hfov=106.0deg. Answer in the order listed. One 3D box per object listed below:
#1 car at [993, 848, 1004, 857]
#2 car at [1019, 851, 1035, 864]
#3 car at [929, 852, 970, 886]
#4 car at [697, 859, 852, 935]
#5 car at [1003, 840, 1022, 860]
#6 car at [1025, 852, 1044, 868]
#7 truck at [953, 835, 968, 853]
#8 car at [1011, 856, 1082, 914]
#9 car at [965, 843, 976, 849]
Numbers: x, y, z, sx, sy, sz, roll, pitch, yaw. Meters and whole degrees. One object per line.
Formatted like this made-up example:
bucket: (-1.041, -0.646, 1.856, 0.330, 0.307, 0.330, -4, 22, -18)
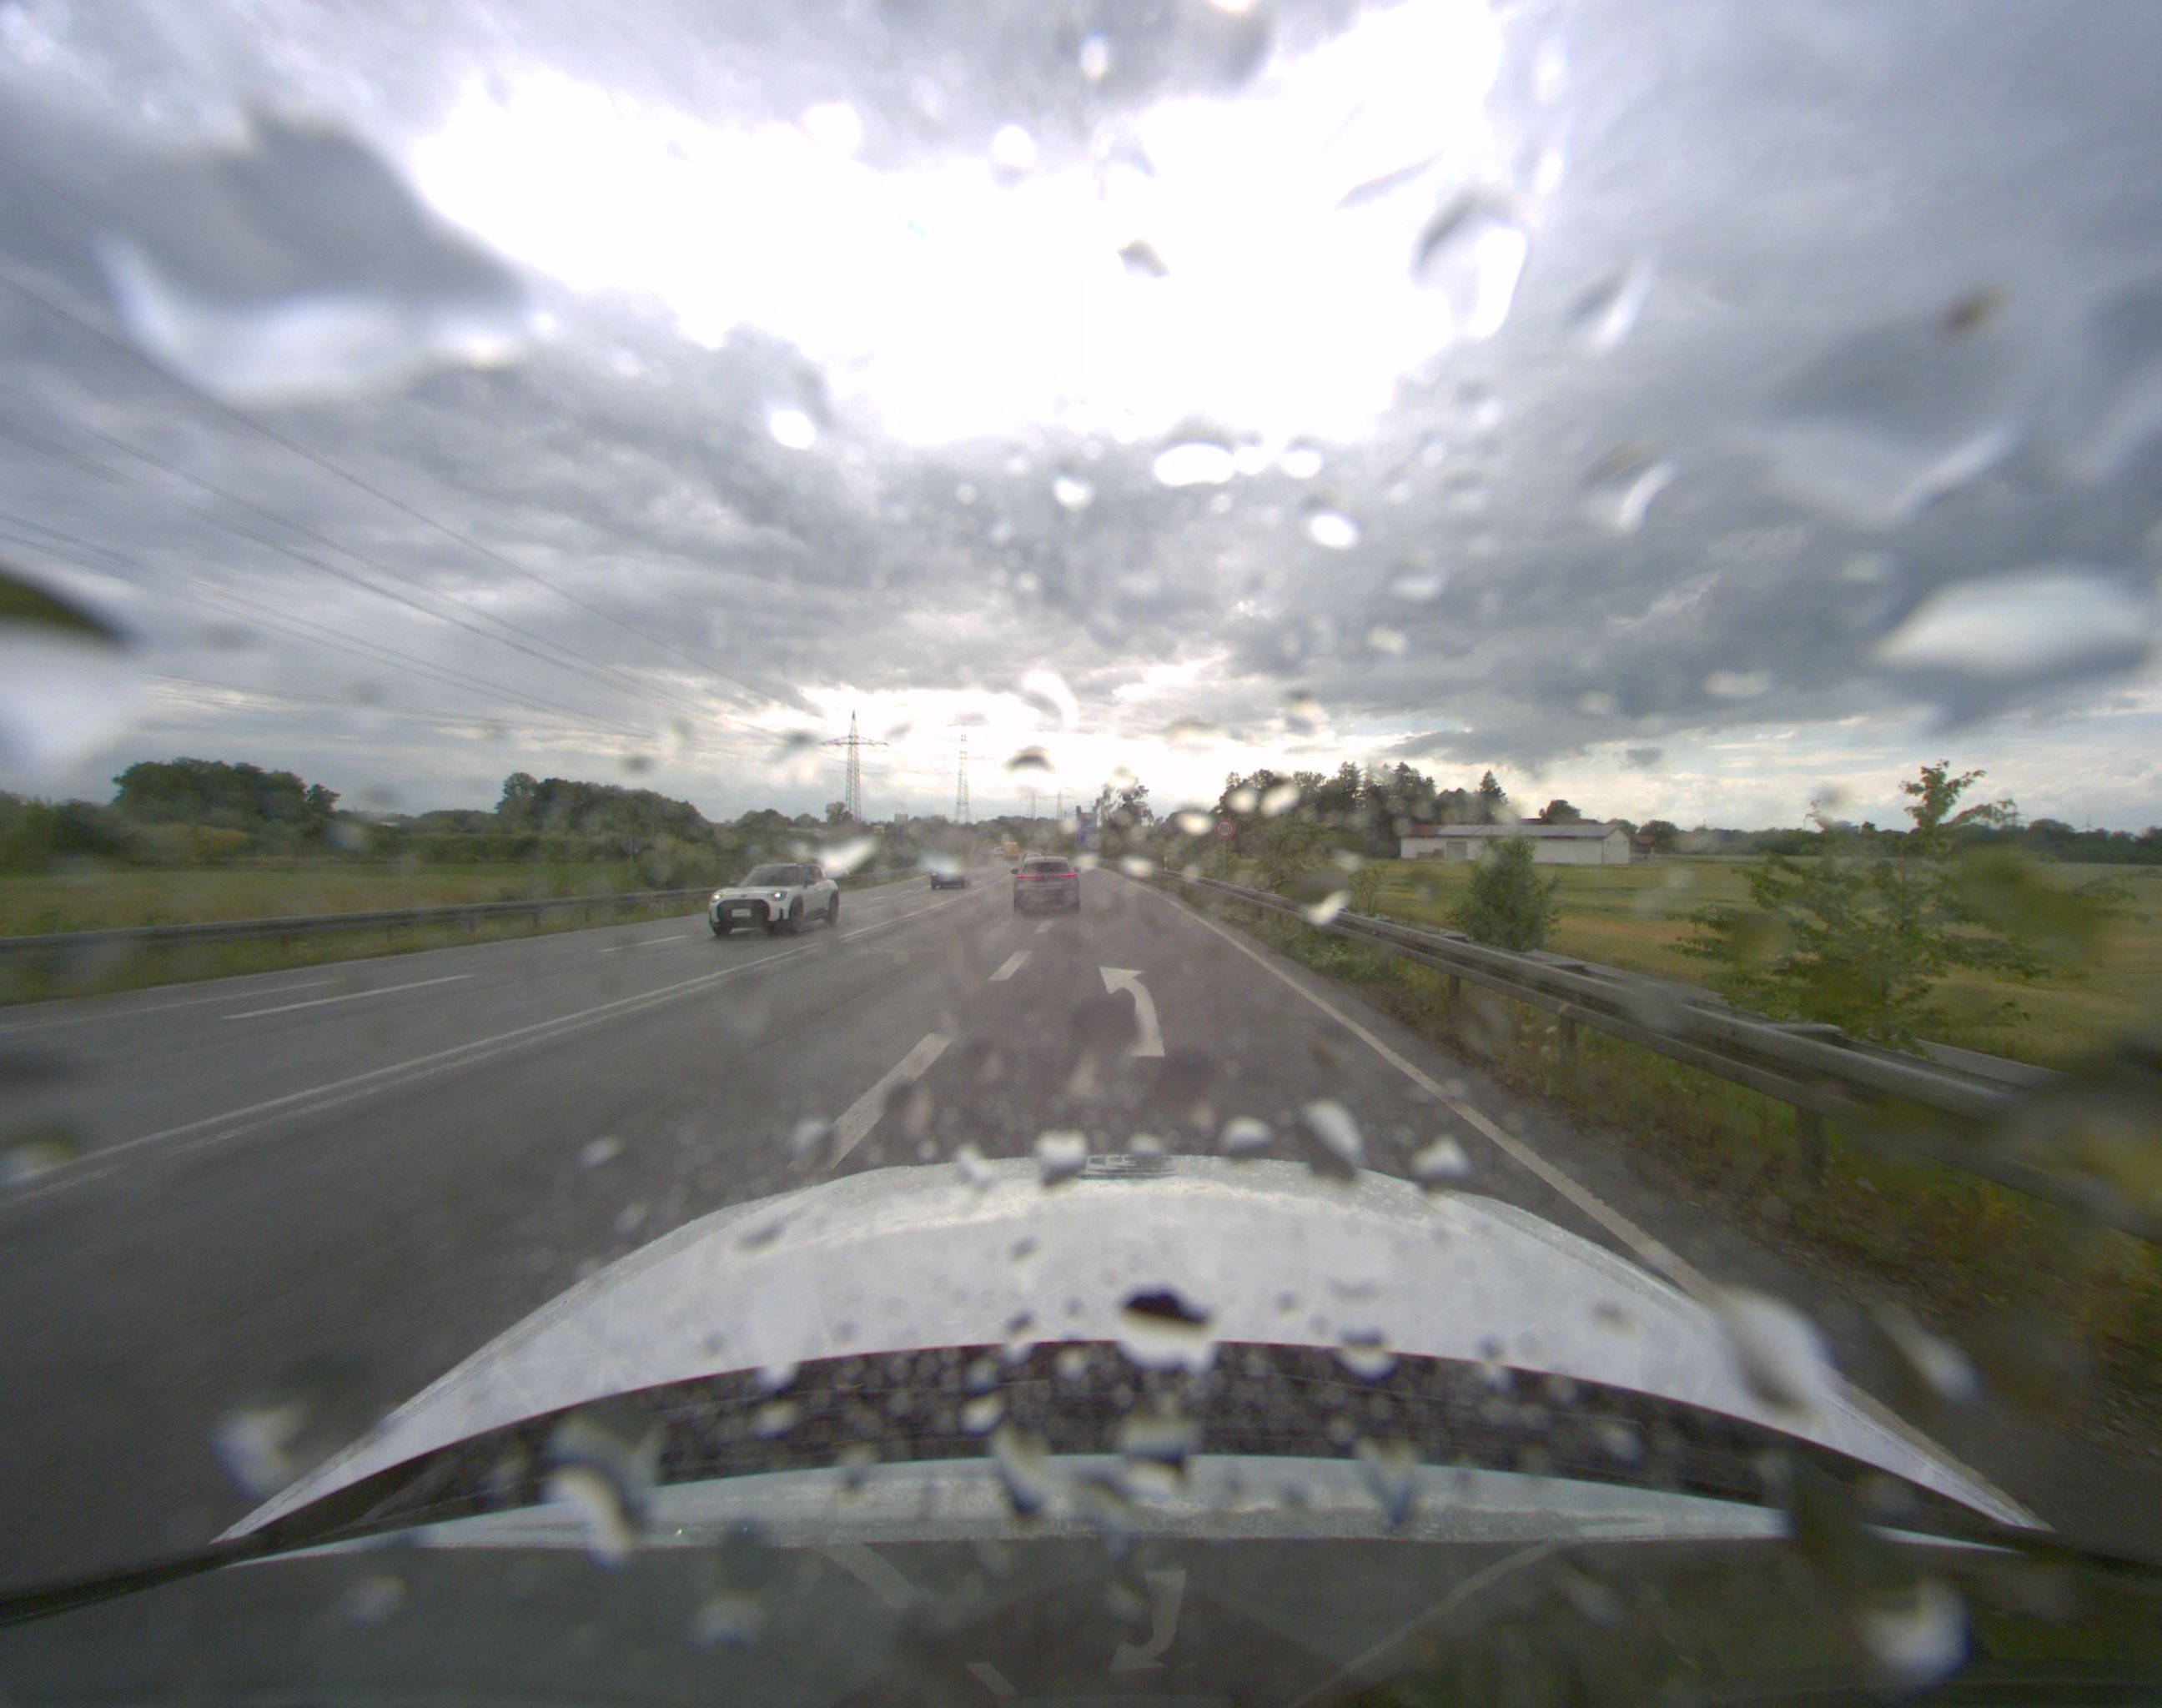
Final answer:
car: (-14.595, -0.292, 143.848, 1.790, 1.441, 3.991, -3, 1, -7)
car: (-6.882, 0.412, 103.604, 1.789, 1.541, 3.992, -2, 0, -6)
car: (-6.920, 0.779, 43.262, 1.787, 1.666, 4.362, 2, 0, -5)
car: (-6.894, 0.893, 18.831, 1.759, 1.500, 4.212, -2, 0, 3)
car: (-10.214, -0.541, 120.915, 2.569, 2.725, 7.182, -2, 0, -5)
car: (-4.628, 0.597, 81.722, 1.787, 1.441, 3.996, -3, 0, -3)
truck: (-24.524, -2.014, 165.390, 2.482, 3.291, 7.253, -3, 1, -11)
car: (-0.916, 0.807, 23.008, 1.786, 1.441, 3.998, -2, 0, -1)
car: (-27.389, -2.017, 201.760, 1.798, 1.441, 3.972, 0, 0, -21)
